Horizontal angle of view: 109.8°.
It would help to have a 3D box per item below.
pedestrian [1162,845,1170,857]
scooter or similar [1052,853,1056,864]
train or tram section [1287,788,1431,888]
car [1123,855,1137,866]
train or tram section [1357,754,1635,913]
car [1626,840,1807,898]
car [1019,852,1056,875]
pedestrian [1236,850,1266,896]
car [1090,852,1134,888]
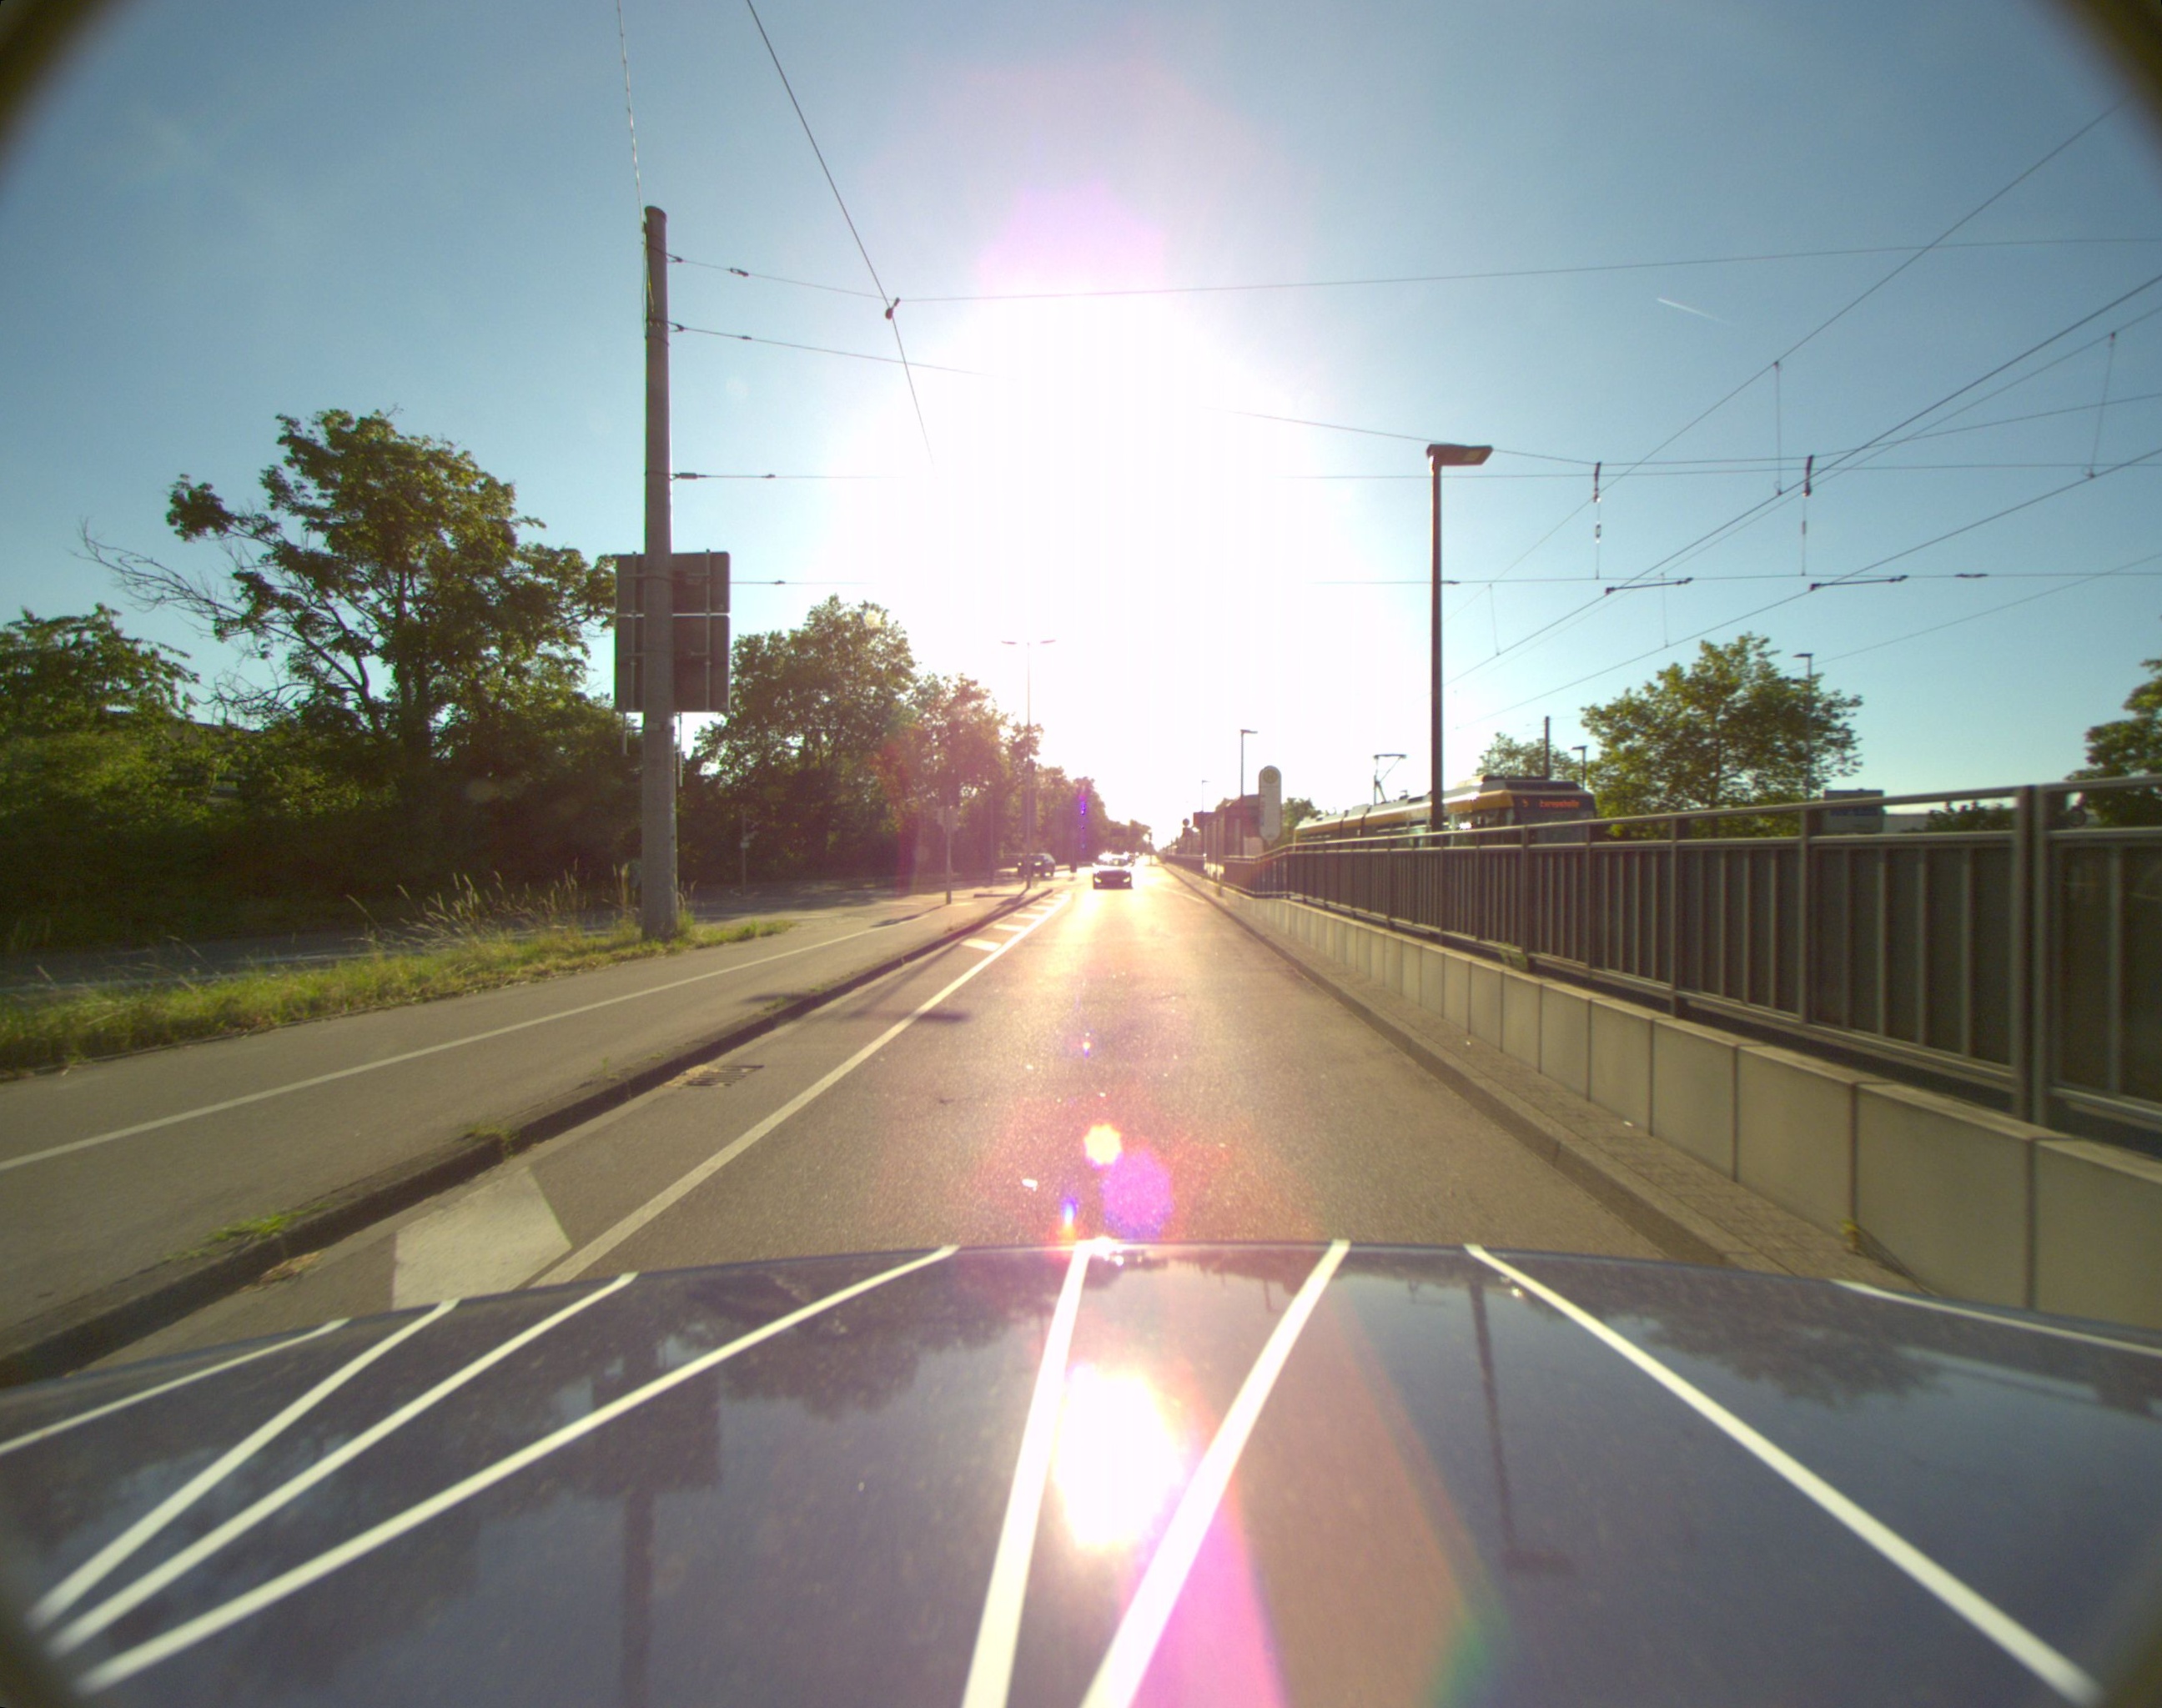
[{"bbox_3d":[11.029,-0.403,98.583,0.891,1.635,0.987,0,1,2],"label":"pedestrian"},{"bbox_3d":[-3.209,0.533,90.295,0.427,1.267,1.083,0,0,5],"label":"scooter or similar"},{"bbox_3d":[13.352,-0.683,38.524,2.833,3.982,15.880,-1,0,5],"label":"train or tram section"},{"bbox_3d":[6.757,0.886,104.369,1.783,1.586,4.001,0,0,4],"label":"car"},{"bbox_3d":[12.051,-0.501,24.250,2.833,3.665,12.973,-1,0,5],"label":"train or tram section"},{"bbox_3d":[18.613,0.405,22.586,1.998,1.552,4.336,-1,0,5],"label":"car"},{"bbox_3d":[-3.128,0.668,55.413,1.823,1.608,4.002,0,1,9],"label":"car"},{"bbox_3d":[5.634,0.614,25.176,0.760,1.484,0.696,0,1,38],"label":"pedestrian"},{"bbox_3d":[1.483,0.699,34.584,1.786,1.530,4.001,-1,0,5],"label":"car"}]
